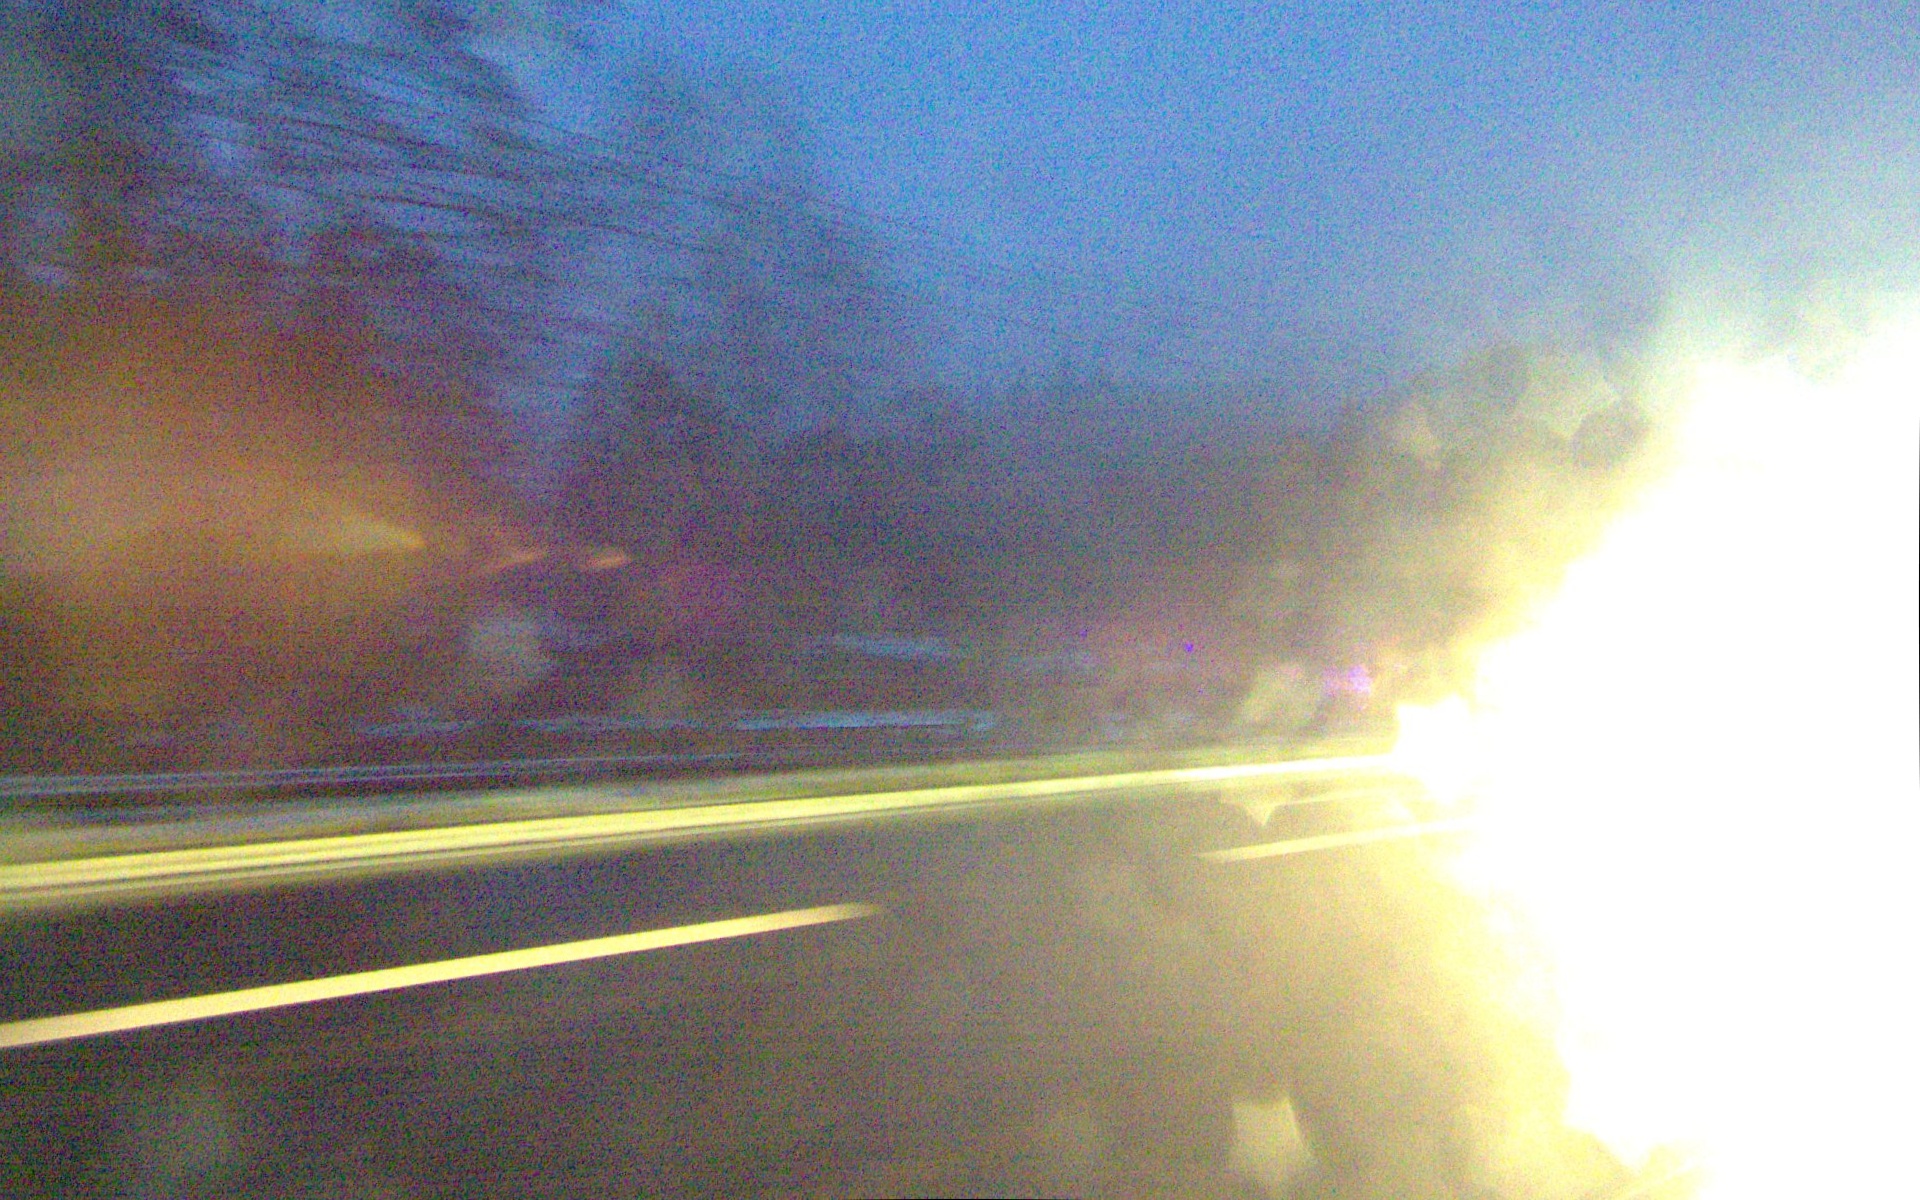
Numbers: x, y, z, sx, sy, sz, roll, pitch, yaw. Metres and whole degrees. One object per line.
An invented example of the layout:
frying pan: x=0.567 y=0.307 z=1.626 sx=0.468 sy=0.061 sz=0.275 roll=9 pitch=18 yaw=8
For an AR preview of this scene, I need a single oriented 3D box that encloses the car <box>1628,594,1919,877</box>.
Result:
car: x=7.114 y=0.857 z=7.623 sx=3.953 sy=1.693 sz=1.880 roll=1 pitch=-1 yaw=-30
